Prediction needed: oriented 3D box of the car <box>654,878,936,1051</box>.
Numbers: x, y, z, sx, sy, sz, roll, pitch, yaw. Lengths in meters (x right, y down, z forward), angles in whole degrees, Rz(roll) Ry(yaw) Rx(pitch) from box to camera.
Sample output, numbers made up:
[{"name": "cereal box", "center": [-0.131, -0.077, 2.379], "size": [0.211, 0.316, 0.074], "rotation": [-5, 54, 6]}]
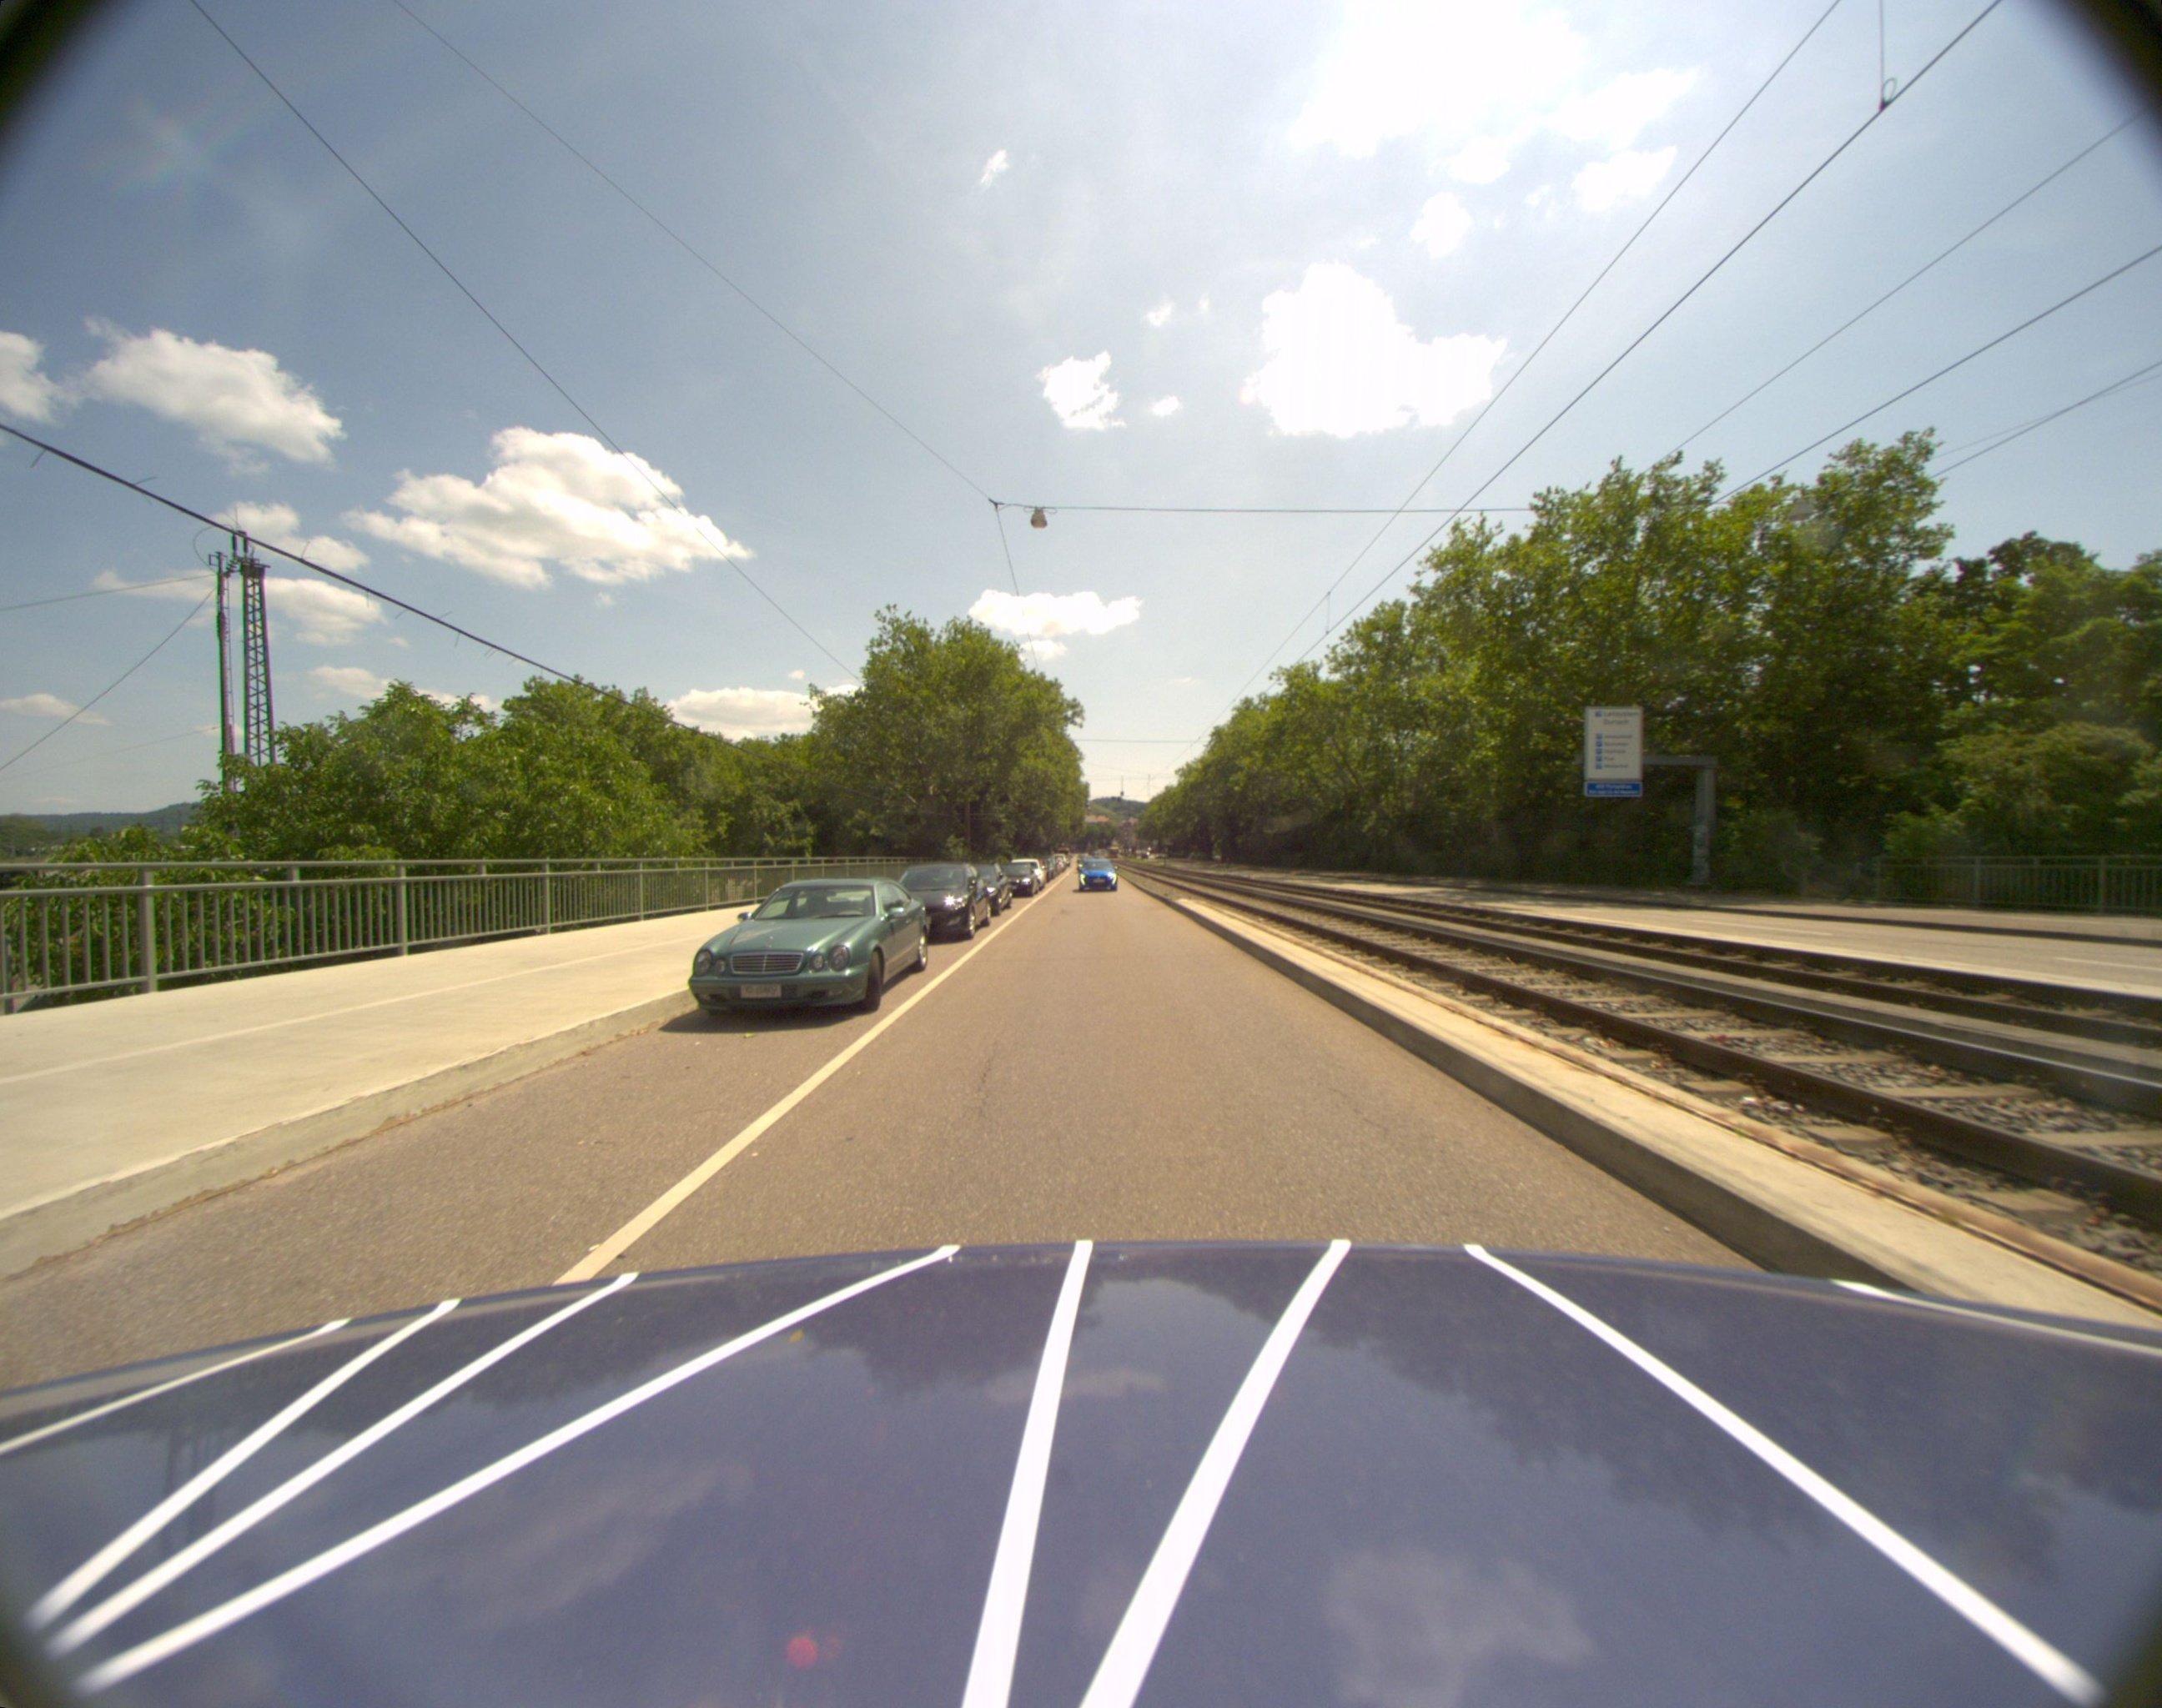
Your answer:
[{"name": "car", "center": [-3.001, 1.067, 9.131], "size": [1.689, 1.351, 4.592], "rotation": [-2, 0, -1]}]

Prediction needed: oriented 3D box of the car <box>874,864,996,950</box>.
[{"name": "car", "center": [-2.870, 0.976, 15.845], "size": [1.639, 1.445, 4.388], "rotation": [-2, 0, 0]}]

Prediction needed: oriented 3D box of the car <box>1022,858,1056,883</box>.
[{"name": "car", "center": [-2.658, 1.053, 49.133], "size": [1.829, 1.422, 4.246], "rotation": [-2, 0, 2]}]

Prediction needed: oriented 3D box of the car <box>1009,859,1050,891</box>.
[{"name": "car", "center": [-2.463, 0.961, 37.132], "size": [1.683, 1.423, 4.159], "rotation": [-1, 0, 1]}]

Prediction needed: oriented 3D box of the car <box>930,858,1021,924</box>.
[{"name": "car", "center": [-2.892, 0.980, 21.814], "size": [1.829, 1.549, 4.159], "rotation": [-4, 0, 2]}]

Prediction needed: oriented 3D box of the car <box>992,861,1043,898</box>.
[{"name": "car", "center": [-2.537, 0.998, 31.129], "size": [1.759, 1.382, 3.699], "rotation": [-1, 0, 1]}]

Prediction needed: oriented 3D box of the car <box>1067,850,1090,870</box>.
[{"name": "car", "center": [-0.197, 0.559, 70.029], "size": [1.796, 1.726, 3.768], "rotation": [-3, 0, 3]}]

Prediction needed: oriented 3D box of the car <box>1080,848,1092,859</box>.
[{"name": "car", "center": [0.999, -0.150, 144.338], "size": [1.998, 2.002, 4.000], "rotation": [-2, 1, 2]}]

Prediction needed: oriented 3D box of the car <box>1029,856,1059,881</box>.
[{"name": "car", "center": [-2.582, 1.015, 54.153], "size": [1.798, 1.614, 4.246], "rotation": [-2, 0, 2]}]

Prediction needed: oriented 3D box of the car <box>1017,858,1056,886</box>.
[{"name": "car", "center": [-2.546, 1.003, 44.089], "size": [1.829, 1.422, 4.246], "rotation": [-2, 0, 2]}]

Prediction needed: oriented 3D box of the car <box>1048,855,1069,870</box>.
[{"name": "car", "center": [-2.249, 0.880, 76.785], "size": [1.829, 1.401, 4.246], "rotation": [-2, 0, 2]}]

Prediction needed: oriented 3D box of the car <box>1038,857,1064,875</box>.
[{"name": "car", "center": [-2.504, 0.977, 63.713], "size": [1.829, 1.422, 4.246], "rotation": [-2, 0, 2]}]
